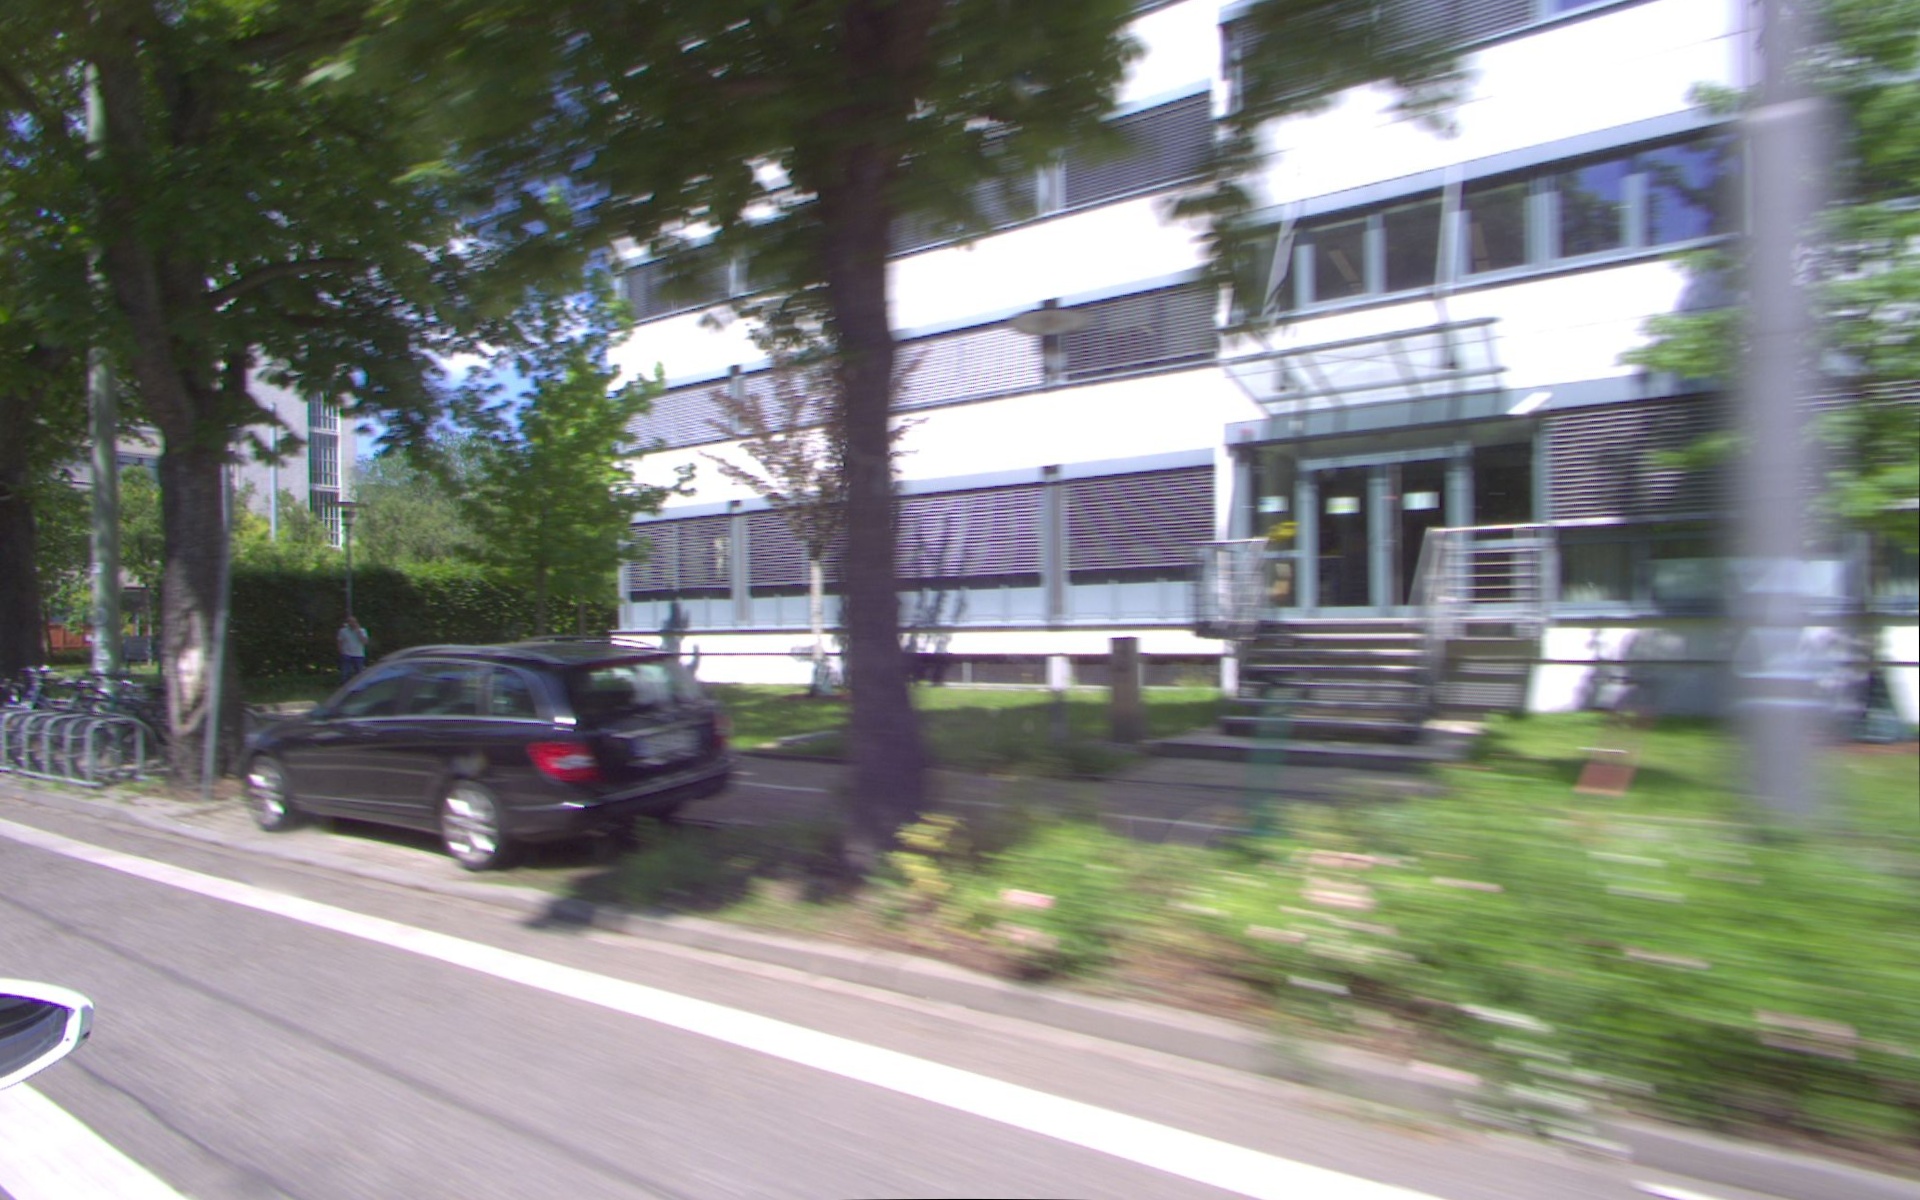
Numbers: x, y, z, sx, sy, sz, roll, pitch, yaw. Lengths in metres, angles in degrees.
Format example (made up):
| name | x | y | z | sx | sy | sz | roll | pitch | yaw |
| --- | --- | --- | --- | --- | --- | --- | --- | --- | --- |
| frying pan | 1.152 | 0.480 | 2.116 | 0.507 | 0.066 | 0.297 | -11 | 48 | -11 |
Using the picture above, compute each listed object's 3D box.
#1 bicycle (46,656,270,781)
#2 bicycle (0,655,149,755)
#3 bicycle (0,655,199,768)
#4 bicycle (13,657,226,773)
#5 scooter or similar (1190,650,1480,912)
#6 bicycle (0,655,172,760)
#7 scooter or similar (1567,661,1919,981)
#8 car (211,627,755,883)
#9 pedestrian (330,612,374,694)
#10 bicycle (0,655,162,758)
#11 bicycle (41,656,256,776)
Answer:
| name | x | y | z | sx | sy | sz | roll | pitch | yaw |
| --- | --- | --- | --- | --- | --- | --- | --- | --- | --- |
| bicycle | -8.526 | 1.217 | 10.739 | 0.506 | 1.126 | 1.805 | -1 | 0 | 29 |
| bicycle | -11.505 | 1.307 | 12.729 | 0.442 | 1.126 | 1.805 | -1 | 0 | 29 |
| bicycle | -10.097 | 1.265 | 11.812 | 0.481 | 1.126 | 1.810 | -1 | 0 | 19 |
| bicycle | -9.550 | 1.260 | 11.465 | 0.524 | 1.126 | 1.808 | -1 | 0 | 23 |
| scooter or similar | 2.005 | 0.900 | 5.400 | 1.365 | 1.224 | 0.538 | -1 | 1 | 32 |
| bicycle | -10.824 | 1.281 | 12.274 | 0.389 | 1.126 | 1.805 | -1 | 0 | 29 |
| scooter or similar | 3.509 | 0.906 | 4.454 | 1.365 | 1.224 | 0.538 | -1 | 1 | 32 |
| car | -3.899 | 0.998 | 7.907 | 4.568 | 1.486 | 1.673 | -1 | 0 | 32 |
| pedestrian | -13.401 | 1.157 | 22.087 | 0.616 | 1.772 | 0.656 | -2 | 0 | -14 |
| bicycle | -11.141 | 1.297 | 12.510 | 0.389 | 1.126 | 1.805 | -1 | 0 | 29 |
| bicycle | -8.999 | 1.243 | 11.197 | 0.527 | 1.126 | 1.808 | -1 | 0 | 23 |
